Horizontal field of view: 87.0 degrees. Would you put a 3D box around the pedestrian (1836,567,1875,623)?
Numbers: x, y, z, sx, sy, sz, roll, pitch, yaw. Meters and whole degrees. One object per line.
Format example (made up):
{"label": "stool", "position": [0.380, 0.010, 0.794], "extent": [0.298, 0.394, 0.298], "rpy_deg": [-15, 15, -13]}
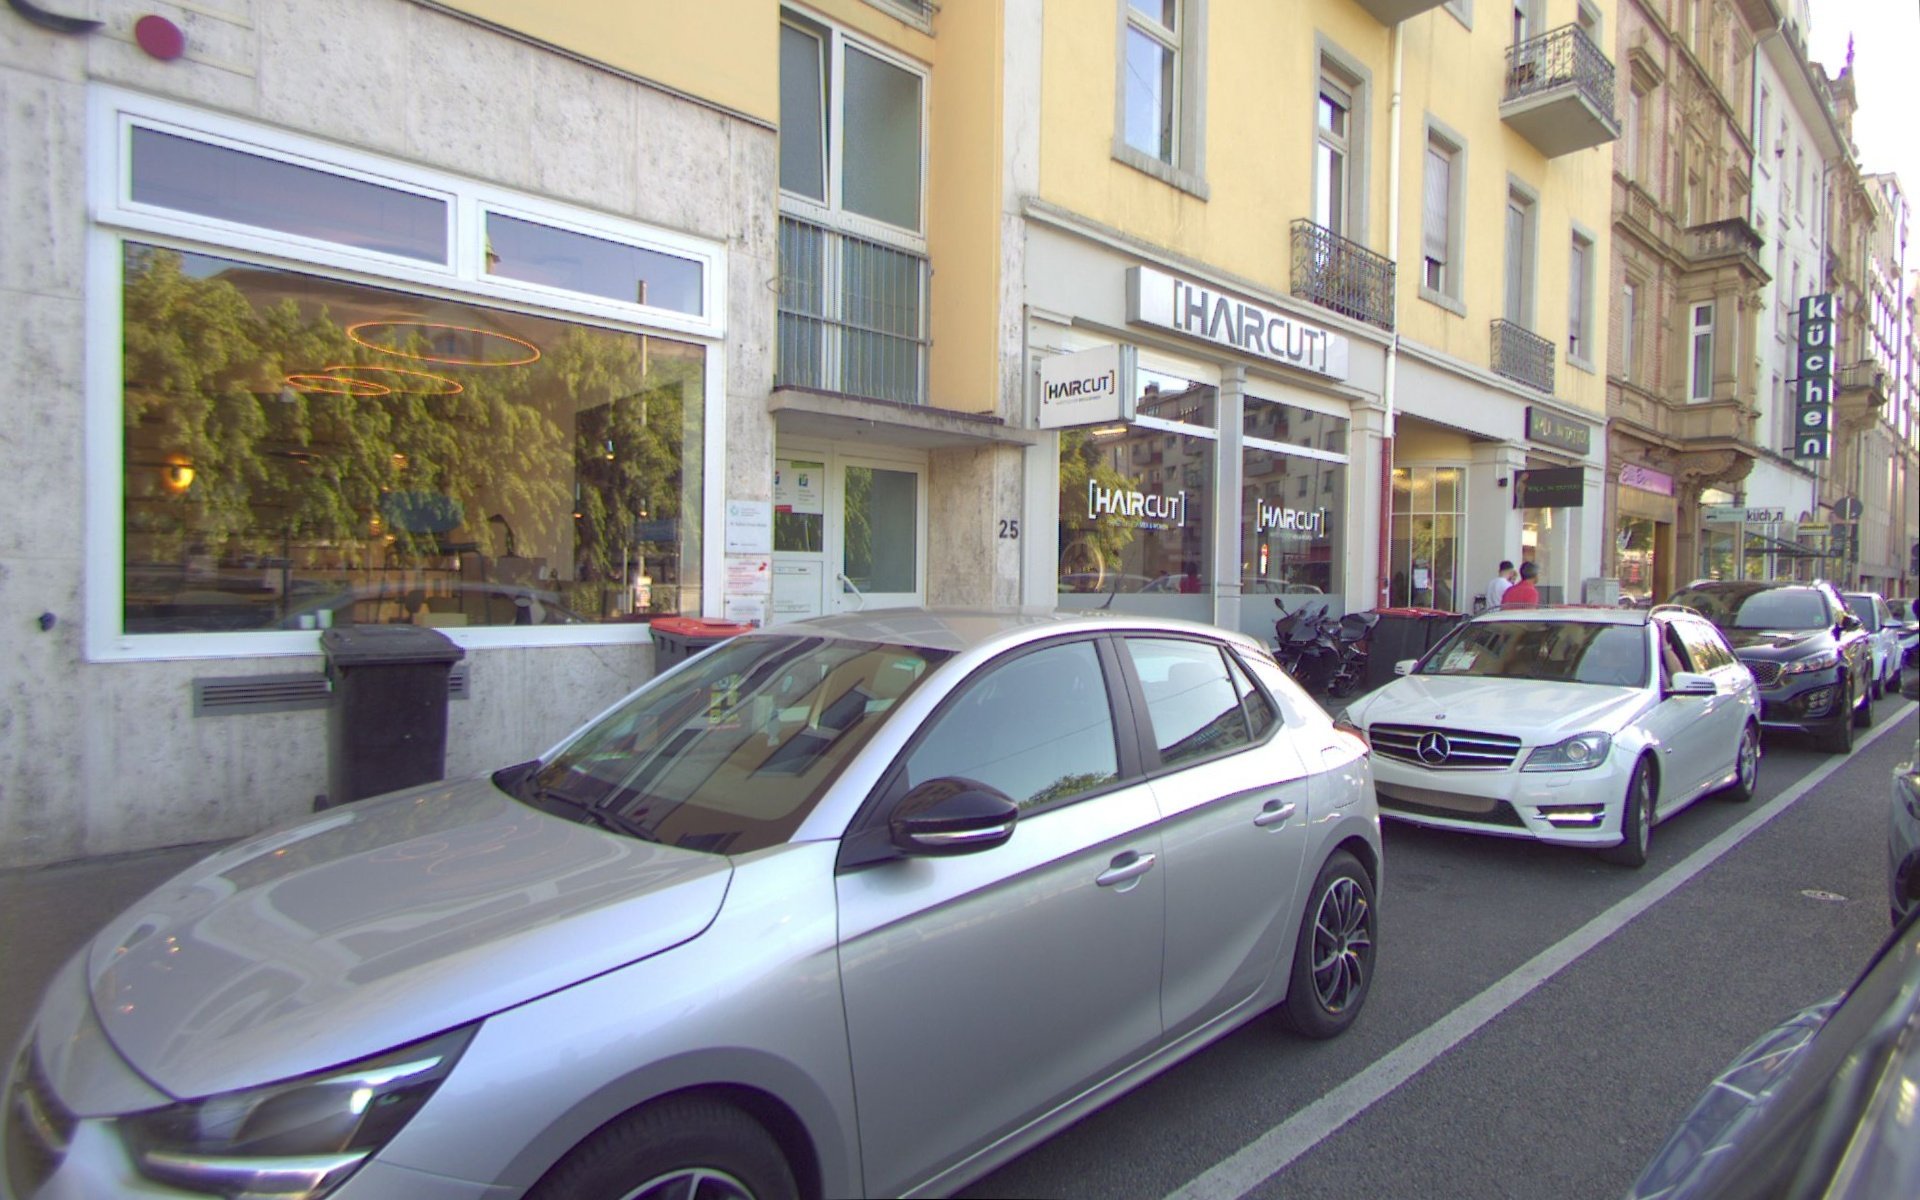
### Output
{"label": "pedestrian", "position": [26.790, -0.153, 30.265], "extent": [0.750, 1.637, 0.794], "rpy_deg": [0, 1, -43]}

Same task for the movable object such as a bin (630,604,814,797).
{"label": "movable object such as a bin", "position": [-1.487, 0.572, 6.314], "extent": [0.878, 1.066, 0.752], "rpy_deg": [0, 1, -40]}

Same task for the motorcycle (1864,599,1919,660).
{"label": "motorcycle", "position": [20.085, 0.608, 21.228], "extent": [1.514, 1.248, 0.771], "rpy_deg": [0, 1, 1]}

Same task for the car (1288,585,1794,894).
{"label": "car", "position": [4.270, 0.649, 7.064], "extent": [4.519, 1.480, 1.757], "rpy_deg": [-1, 1, -42]}

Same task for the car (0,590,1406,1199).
{"label": "car", "position": [-0.288, 0.689, 2.955], "extent": [3.644, 1.415, 1.651], "rpy_deg": [-1, 1, -44]}

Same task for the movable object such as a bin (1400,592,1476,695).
{"label": "movable object such as a bin", "position": [5.949, 0.519, 12.588], "extent": [0.633, 1.222, 0.647], "rpy_deg": [0, 1, -40]}

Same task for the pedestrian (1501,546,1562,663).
{"label": "pedestrian", "position": [8.212, 0.051, 14.549], "extent": [0.631, 1.637, 0.572], "rpy_deg": [0, 1, -40]}

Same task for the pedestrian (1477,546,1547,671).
{"label": "pedestrian", "position": [7.494, 0.098, 13.733], "extent": [0.689, 1.637, 0.641], "rpy_deg": [0, 1, -42]}

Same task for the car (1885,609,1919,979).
{"label": "car", "position": [5.773, 0.746, 4.680], "extent": [4.183, 1.396, 1.846], "rpy_deg": [-1, 1, -42]}

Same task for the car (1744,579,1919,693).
{"label": "car", "position": [13.590, 0.479, 15.701], "extent": [2.965, 1.587, 1.695], "rpy_deg": [0, 1, -40]}

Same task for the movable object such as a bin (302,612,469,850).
{"label": "movable object such as a bin", "position": [-2.893, 0.599, 5.080], "extent": [0.591, 1.041, 0.812], "rpy_deg": [0, 1, -40]}

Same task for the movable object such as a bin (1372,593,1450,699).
{"label": "movable object such as a bin", "position": [5.439, 0.527, 12.199], "extent": [0.633, 1.222, 0.647], "rpy_deg": [0, 1, -40]}

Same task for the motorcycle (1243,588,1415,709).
{"label": "motorcycle", "position": [4.124, 0.483, 11.225], "extent": [2.208, 1.179, 0.773], "rpy_deg": [0, 4, -41]}

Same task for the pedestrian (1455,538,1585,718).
{"label": "pedestrian", "position": [6.060, 0.259, 10.951], "extent": [0.992, 1.805, 0.865], "rpy_deg": [-1, 5, -44]}

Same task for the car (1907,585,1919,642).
{"label": "car", "position": [27.193, 0.351, 27.575], "extent": [3.931, 1.504, 1.713], "rpy_deg": [0, 1, -42]}

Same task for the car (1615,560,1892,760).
{"label": "car", "position": [8.770, 0.484, 11.012], "extent": [1.853, 1.719, 4.623], "rpy_deg": [1, 1, 45]}

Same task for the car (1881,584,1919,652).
{"label": "car", "position": [22.896, 0.387, 23.610], "extent": [3.931, 1.504, 1.713], "rpy_deg": [0, 1, -42]}
